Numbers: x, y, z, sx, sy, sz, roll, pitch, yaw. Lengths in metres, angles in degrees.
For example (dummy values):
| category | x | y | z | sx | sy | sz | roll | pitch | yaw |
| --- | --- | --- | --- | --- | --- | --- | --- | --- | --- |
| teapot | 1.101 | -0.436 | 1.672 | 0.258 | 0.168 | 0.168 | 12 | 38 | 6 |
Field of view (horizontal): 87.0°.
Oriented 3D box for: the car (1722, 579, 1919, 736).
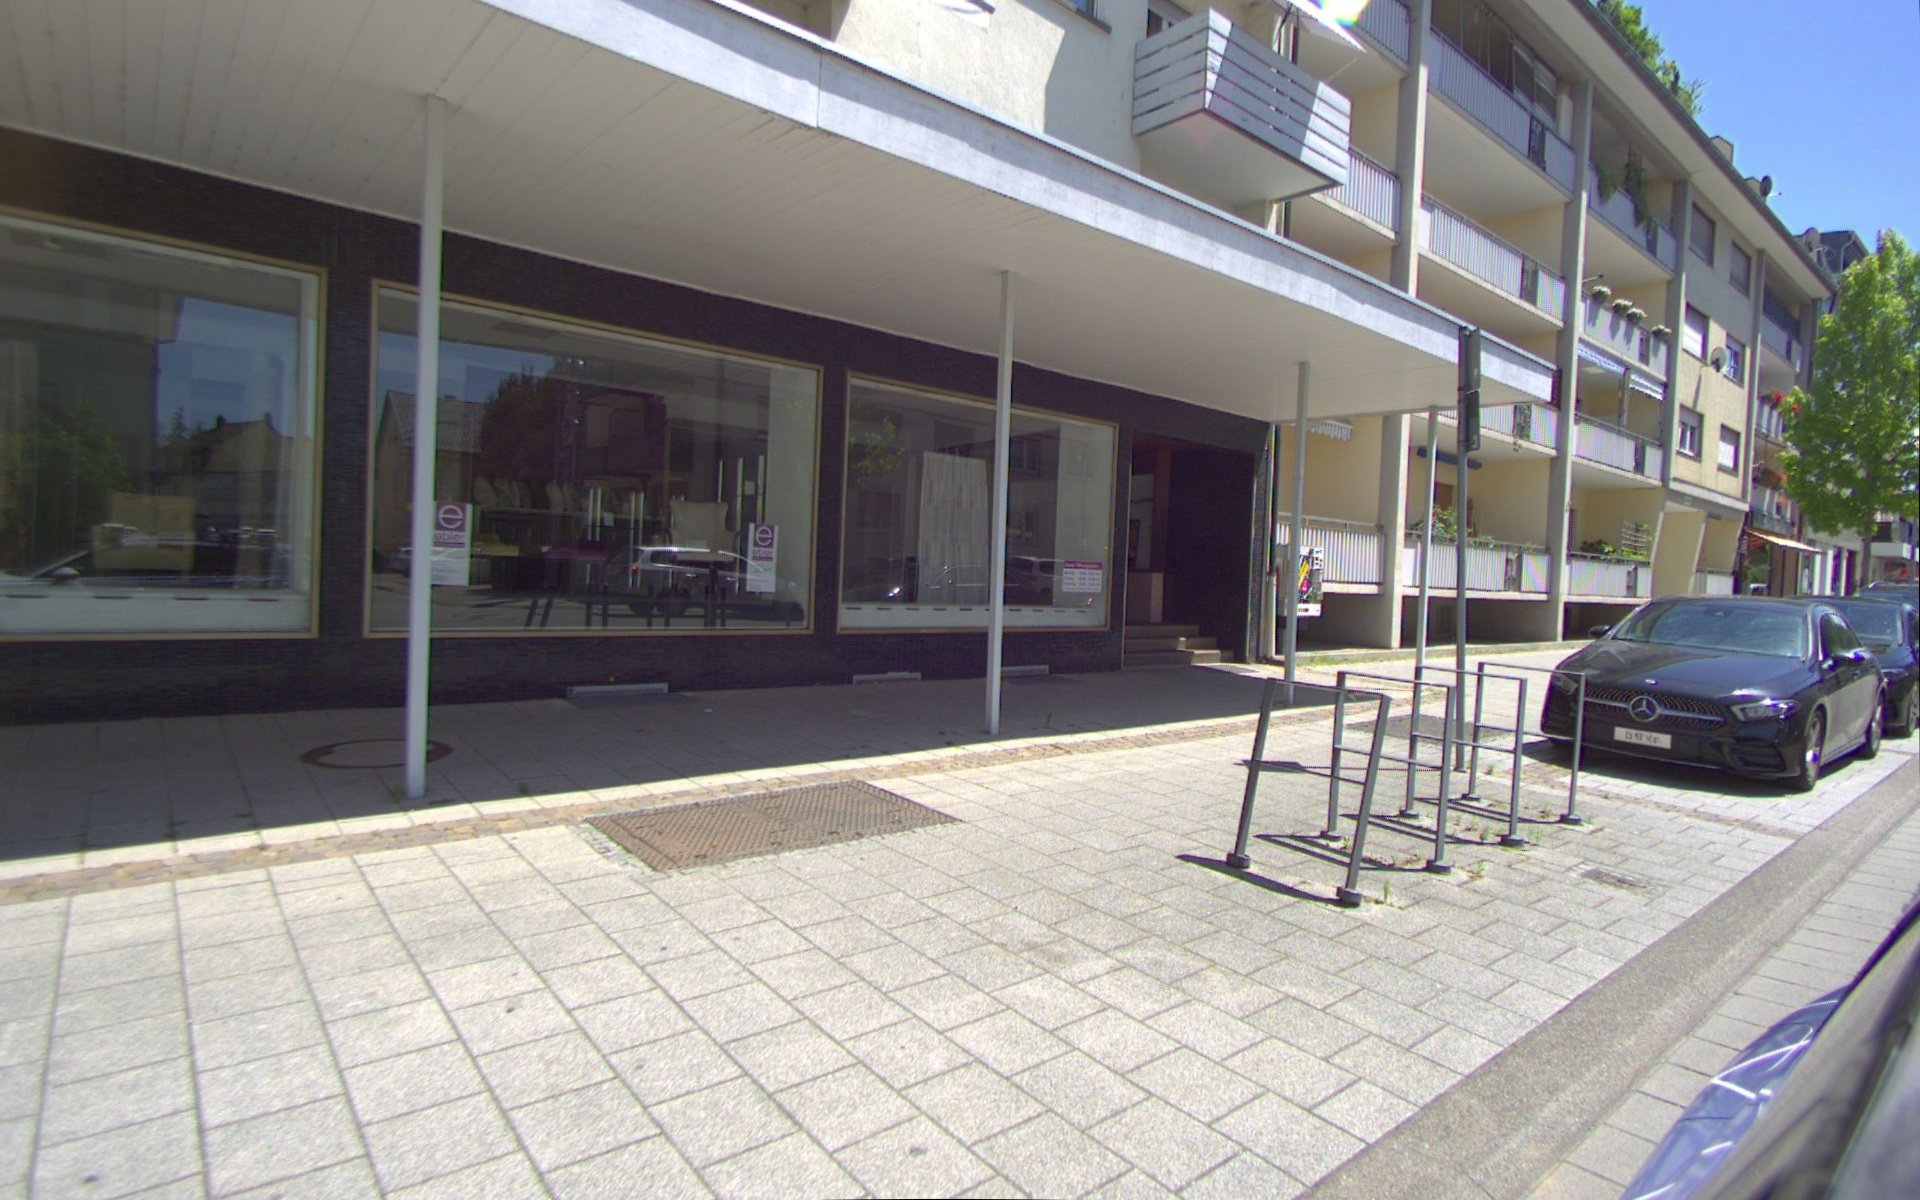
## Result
| category | x | y | z | sx | sy | sz | roll | pitch | yaw |
| --- | --- | --- | --- | --- | --- | --- | --- | --- | --- |
| car | 10.790 | 0.574 | 12.177 | 4.043 | 1.526 | 1.731 | 0 | 3 | -41 |

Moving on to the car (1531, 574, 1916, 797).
| category | x | y | z | sx | sy | sz | roll | pitch | yaw |
| --- | --- | --- | --- | --- | --- | --- | --- | --- | --- |
| car | 6.826 | 0.568 | 8.899 | 4.043 | 1.403 | 1.818 | 0 | 5 | -41 |

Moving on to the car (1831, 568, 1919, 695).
| category | x | y | z | sx | sy | sz | roll | pitch | yaw |
| --- | --- | --- | --- | --- | --- | --- | --- | --- | --- |
| car | 15.228 | 0.467 | 15.883 | 4.043 | 1.784 | 1.731 | 0 | 3 | -41 |
